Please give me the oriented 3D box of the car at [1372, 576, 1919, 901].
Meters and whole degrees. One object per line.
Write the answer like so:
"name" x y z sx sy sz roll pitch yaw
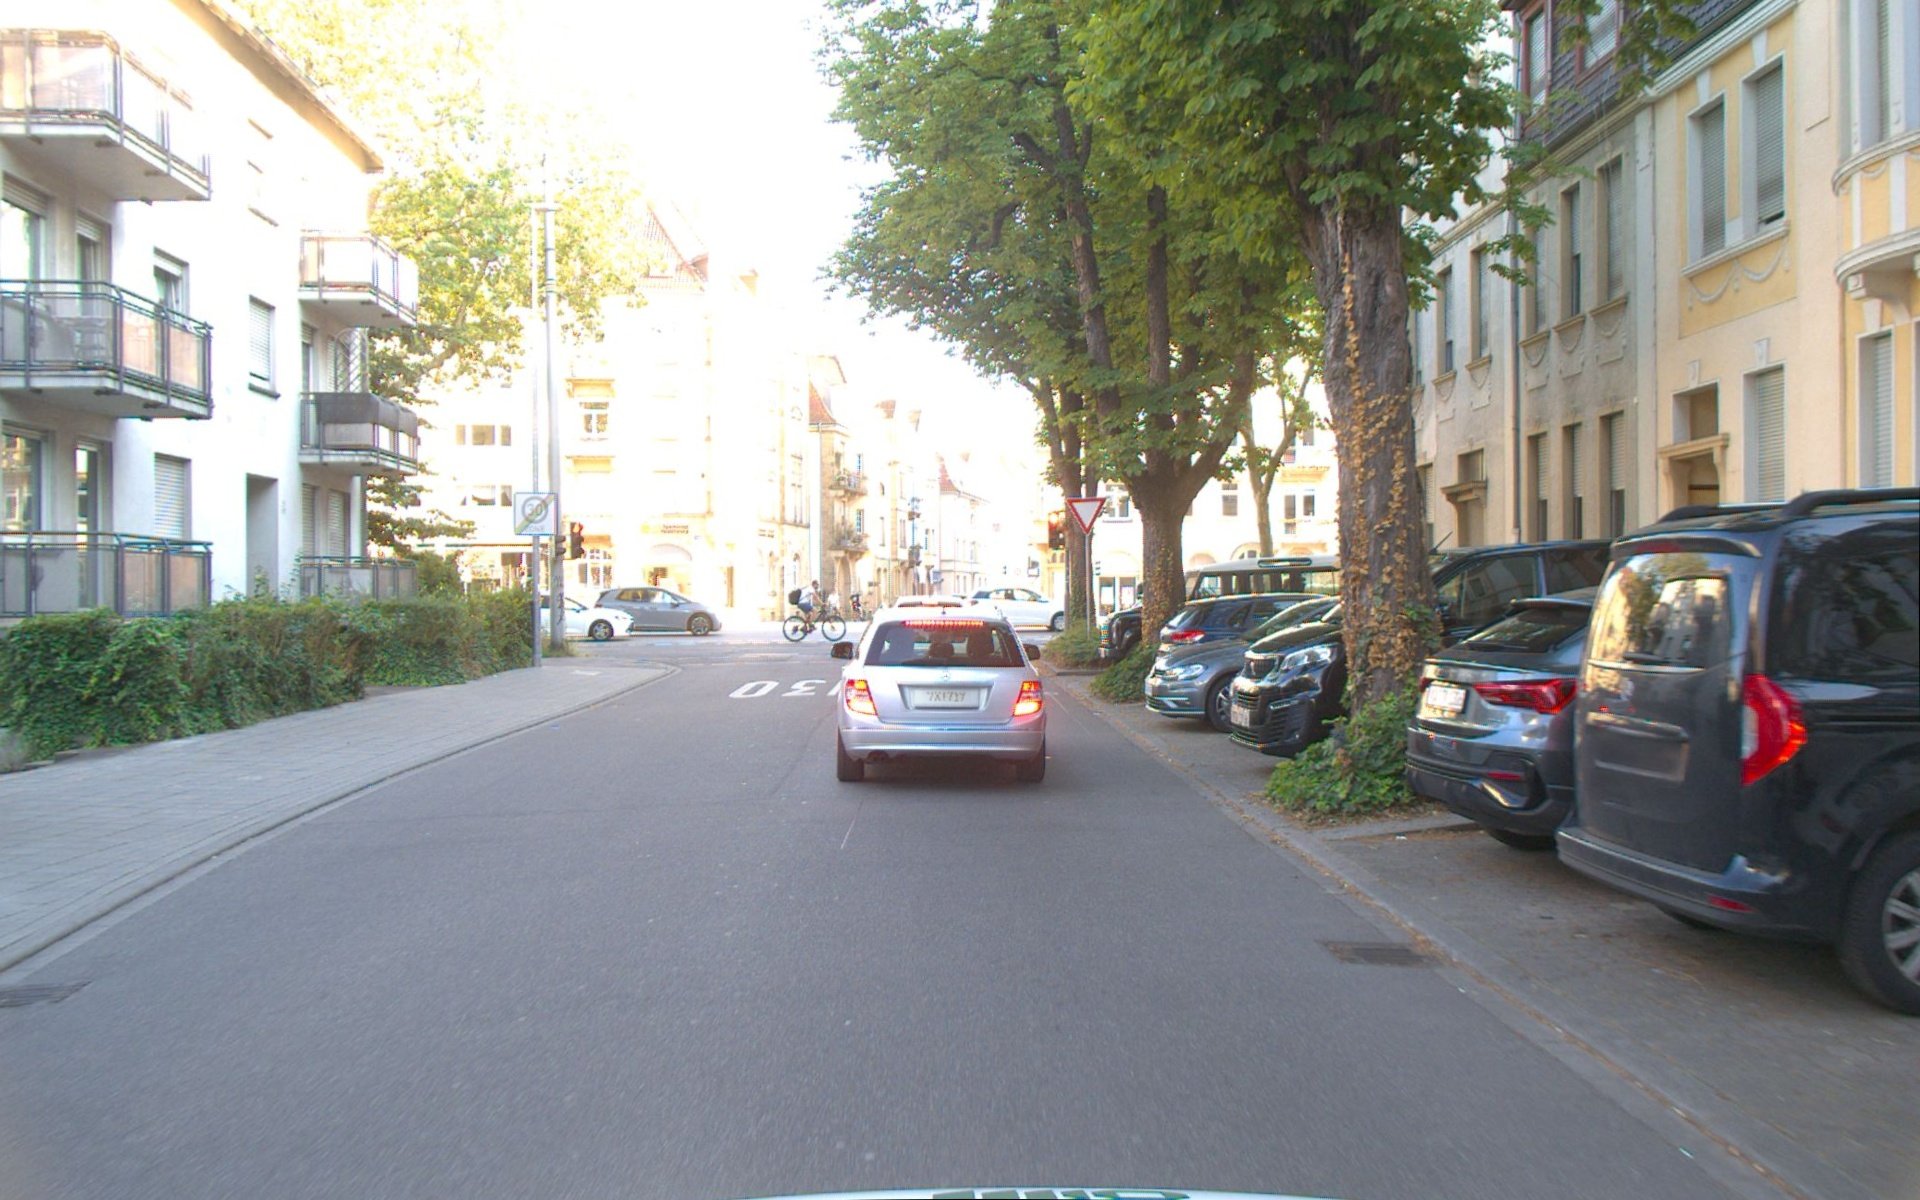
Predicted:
"car" 4.603 0.654 9.052 4.203 1.568 1.876 0 0 -4

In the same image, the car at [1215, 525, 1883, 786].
"car" 4.823 0.411 14.036 4.953 2.024 2.071 0 0 -4

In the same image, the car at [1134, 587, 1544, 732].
"car" 4.244 0.631 18.949 4.203 1.442 1.876 -2 1 -4

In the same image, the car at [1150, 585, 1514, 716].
"car" 4.667 0.605 21.155 4.203 1.568 1.898 0 0 -4

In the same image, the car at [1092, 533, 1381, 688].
"car" 4.418 0.150 26.871 4.301 2.405 1.999 0 0 -4

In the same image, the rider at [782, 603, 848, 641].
"rider" -4.188 0.626 47.718 1.839 1.056 0.510 -1 0 -10

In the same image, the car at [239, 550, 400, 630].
"car" -22.015 -0.350 57.023 4.815 2.716 1.971 0 0 -8

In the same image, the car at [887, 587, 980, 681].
"car" -0.462 0.563 30.229 1.590 1.597 3.680 0 1 0

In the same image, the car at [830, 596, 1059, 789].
"car" -0.129 0.722 14.637 1.747 1.462 3.850 1 0 0

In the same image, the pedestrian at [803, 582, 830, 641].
"pedestrian" -4.145 0.319 47.726 0.755 1.674 0.504 -1 0 -9

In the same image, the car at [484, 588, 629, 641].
"car" -11.881 0.401 48.920 4.015 1.507 1.714 0 0 -10

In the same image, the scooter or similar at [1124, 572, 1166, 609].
"scooter or similar" 5.524 -0.284 49.481 1.152 1.070 0.409 -2 0 -5

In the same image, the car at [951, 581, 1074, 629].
"car" 1.705 0.150 54.109 3.815 1.541 1.704 0 0 -8

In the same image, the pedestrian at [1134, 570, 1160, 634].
"pedestrian" 5.592 0.060 49.489 0.630 1.898 0.409 -2 0 -5

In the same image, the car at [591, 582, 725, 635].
"car" -9.509 0.249 52.341 4.076 1.655 1.790 0 0 -8

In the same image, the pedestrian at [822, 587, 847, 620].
"pedestrian" -6.802 0.192 89.718 1.195 1.752 1.504 1 0 2

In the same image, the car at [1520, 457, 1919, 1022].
"car" 4.712 0.423 6.773 4.136 1.929 1.904 -2 0 -3
